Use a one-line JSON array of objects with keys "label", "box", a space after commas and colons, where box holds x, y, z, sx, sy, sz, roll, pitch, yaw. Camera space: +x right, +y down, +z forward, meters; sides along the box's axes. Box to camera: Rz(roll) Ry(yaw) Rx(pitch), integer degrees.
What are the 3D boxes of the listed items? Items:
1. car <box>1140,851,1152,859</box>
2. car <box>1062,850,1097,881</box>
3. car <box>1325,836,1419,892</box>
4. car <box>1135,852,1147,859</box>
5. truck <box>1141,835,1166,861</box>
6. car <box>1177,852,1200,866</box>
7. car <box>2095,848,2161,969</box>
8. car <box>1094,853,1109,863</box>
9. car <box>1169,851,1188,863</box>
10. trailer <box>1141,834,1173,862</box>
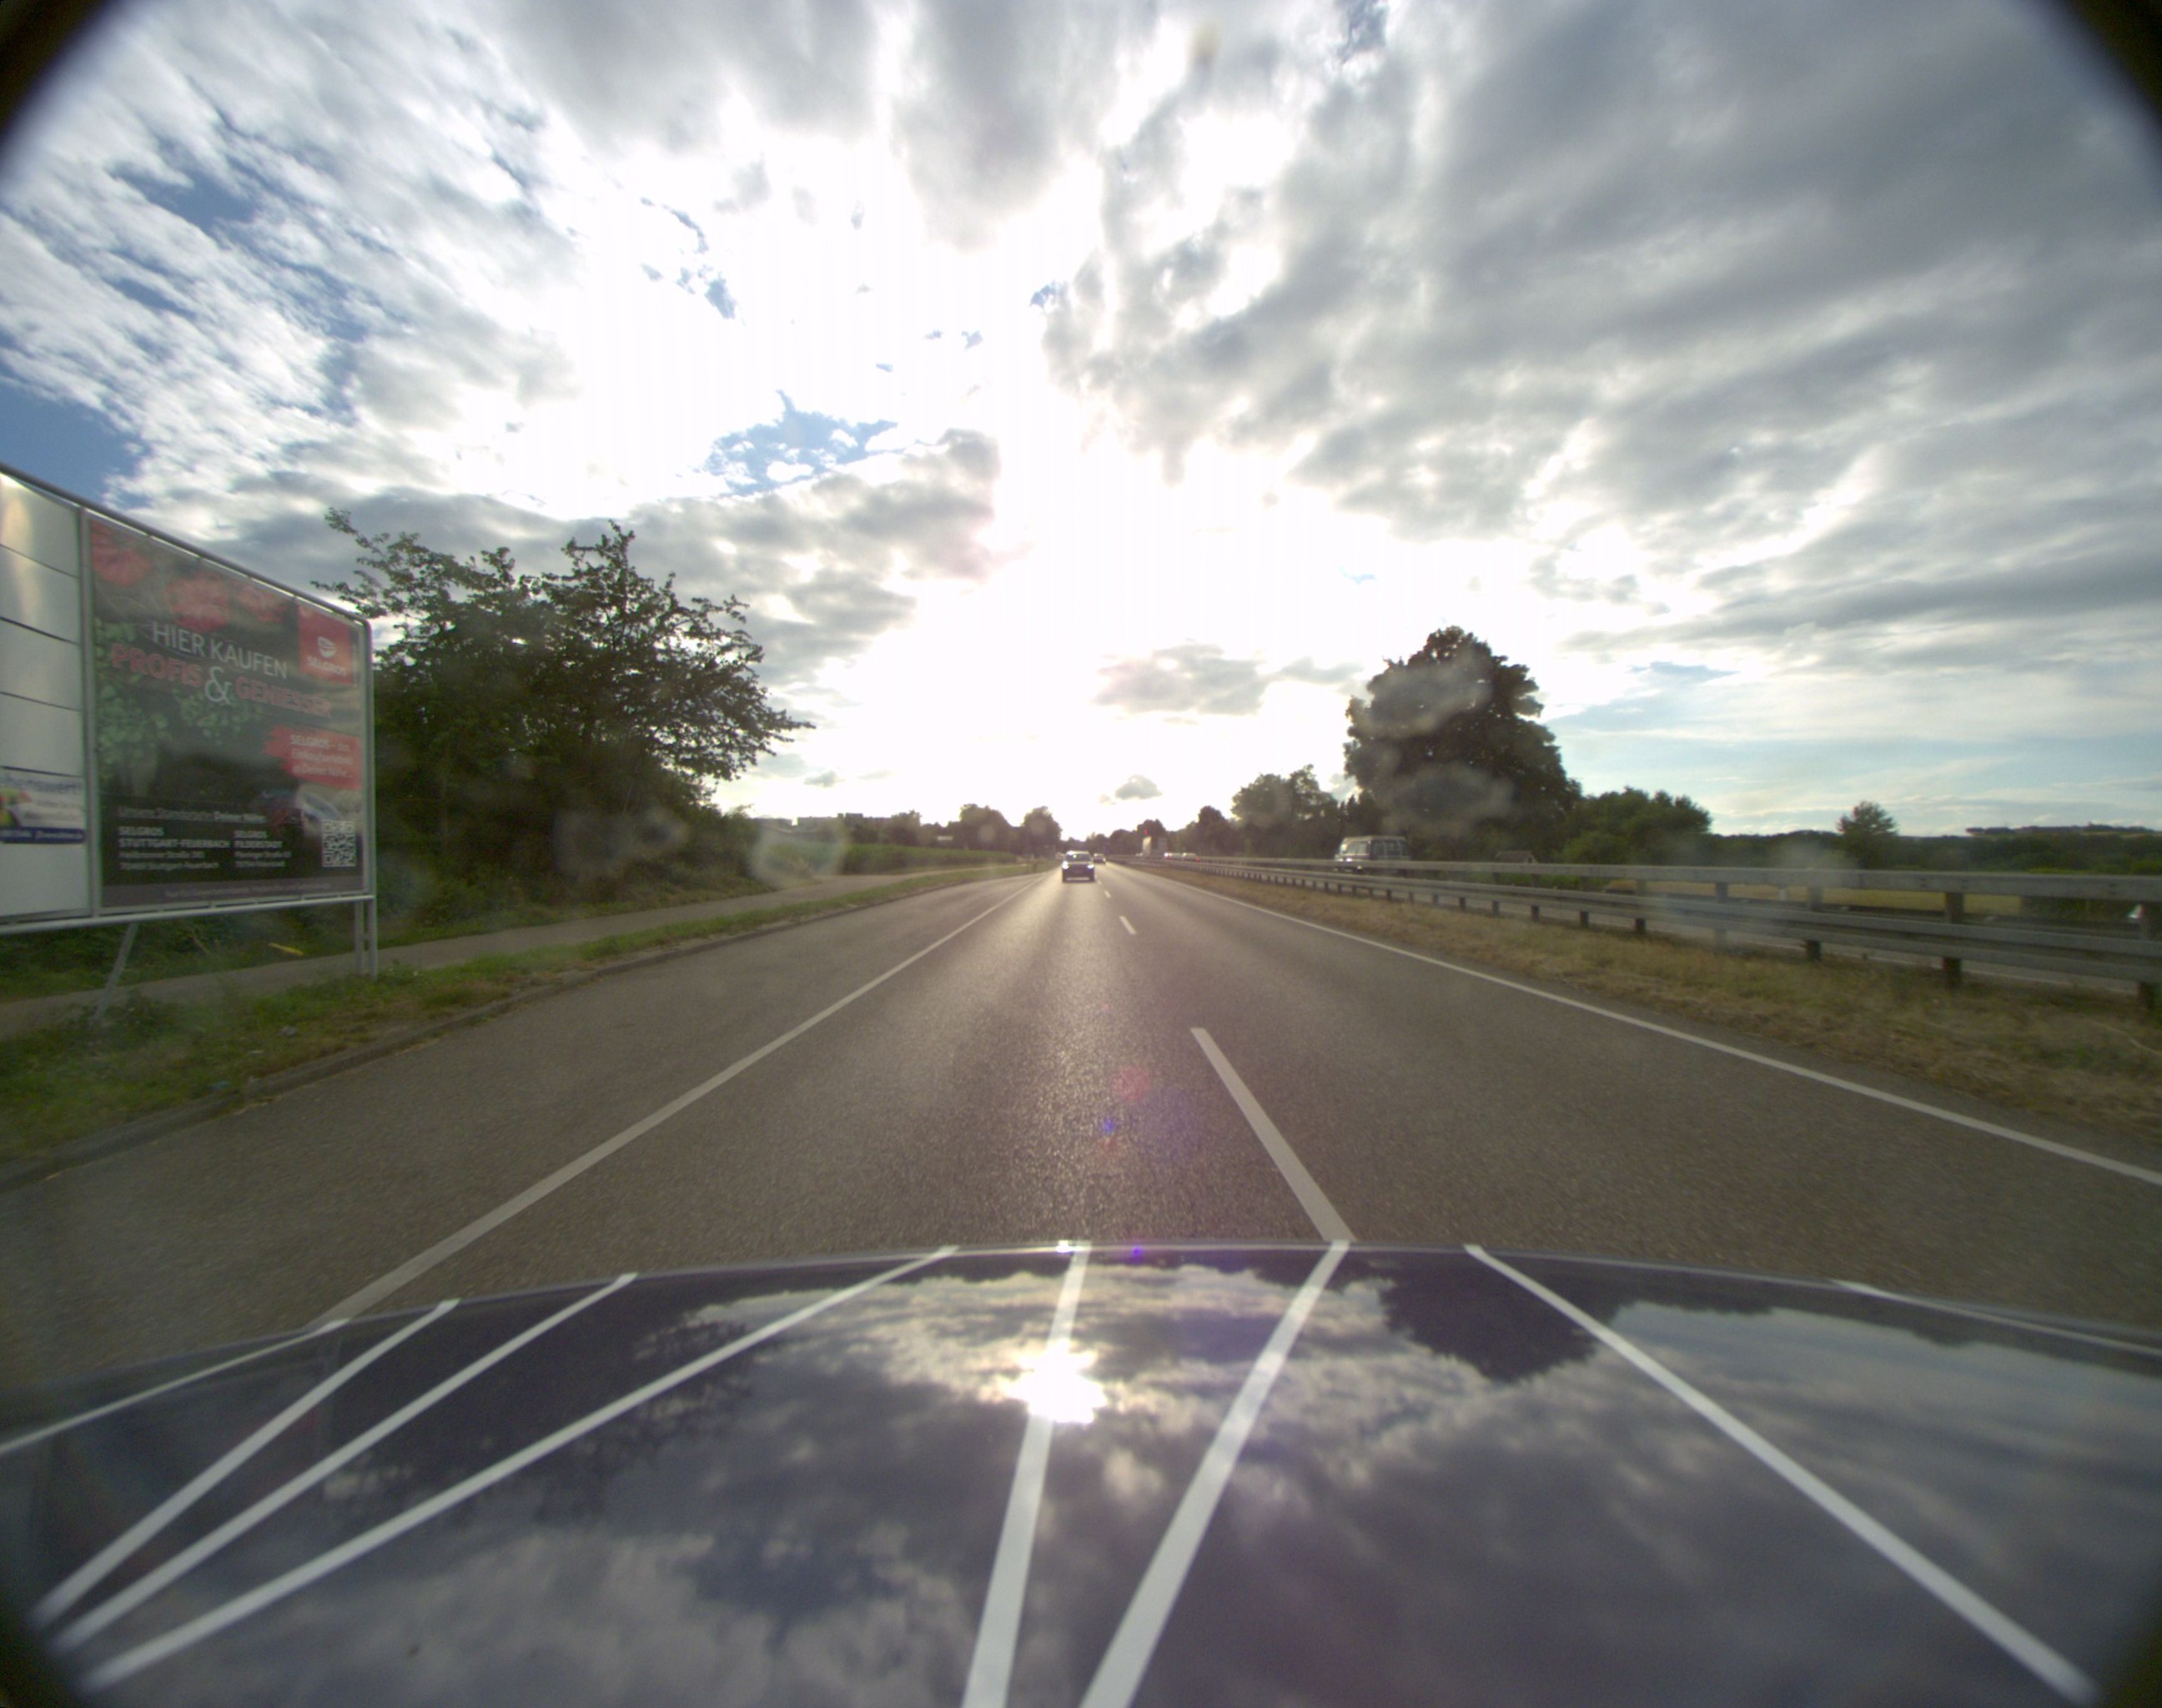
[{"label": "car", "box": [12.369, 0.185, 144.311, 1.912, 1.600, 4.404, 0, 0, 0]}, {"label": "car", "box": [-0.101, 0.607, 44.137, 1.849, 1.640, 4.480, -2, 0, -1]}, {"label": "car", "box": [12.100, 0.387, 31.982, 1.998, 2.128, 5.319, 1, 0, 1]}, {"label": "car", "box": [12.164, 0.214, 153.787, 1.912, 1.420, 5.151, 0, 0, 0]}, {"label": "truck", "box": [12.000, -0.956, 126.889, 3.483, 4.126, 6.049, 1, 0, 0]}, {"label": "car", "box": [11.905, 0.516, 84.212, 1.871, 1.469, 4.935, 0, 0, 0]}, {"label": "car", "box": [15.361, 0.751, 8.604, 1.802, 1.616, 4.483, 1, 0, 1]}, {"label": "car", "box": [2.834, 0.582, 104.286, 1.998, 1.320, 4.000, 1, 0, 1]}, {"label": "car", "box": [12.354, 0.411, 96.682, 1.871, 1.469, 4.825, 0, 0, 0]}, {"label": "trailer", "box": [11.902, -0.918, 120.432, 3.474, 4.126, 13.915, 1, 0, 0]}]
